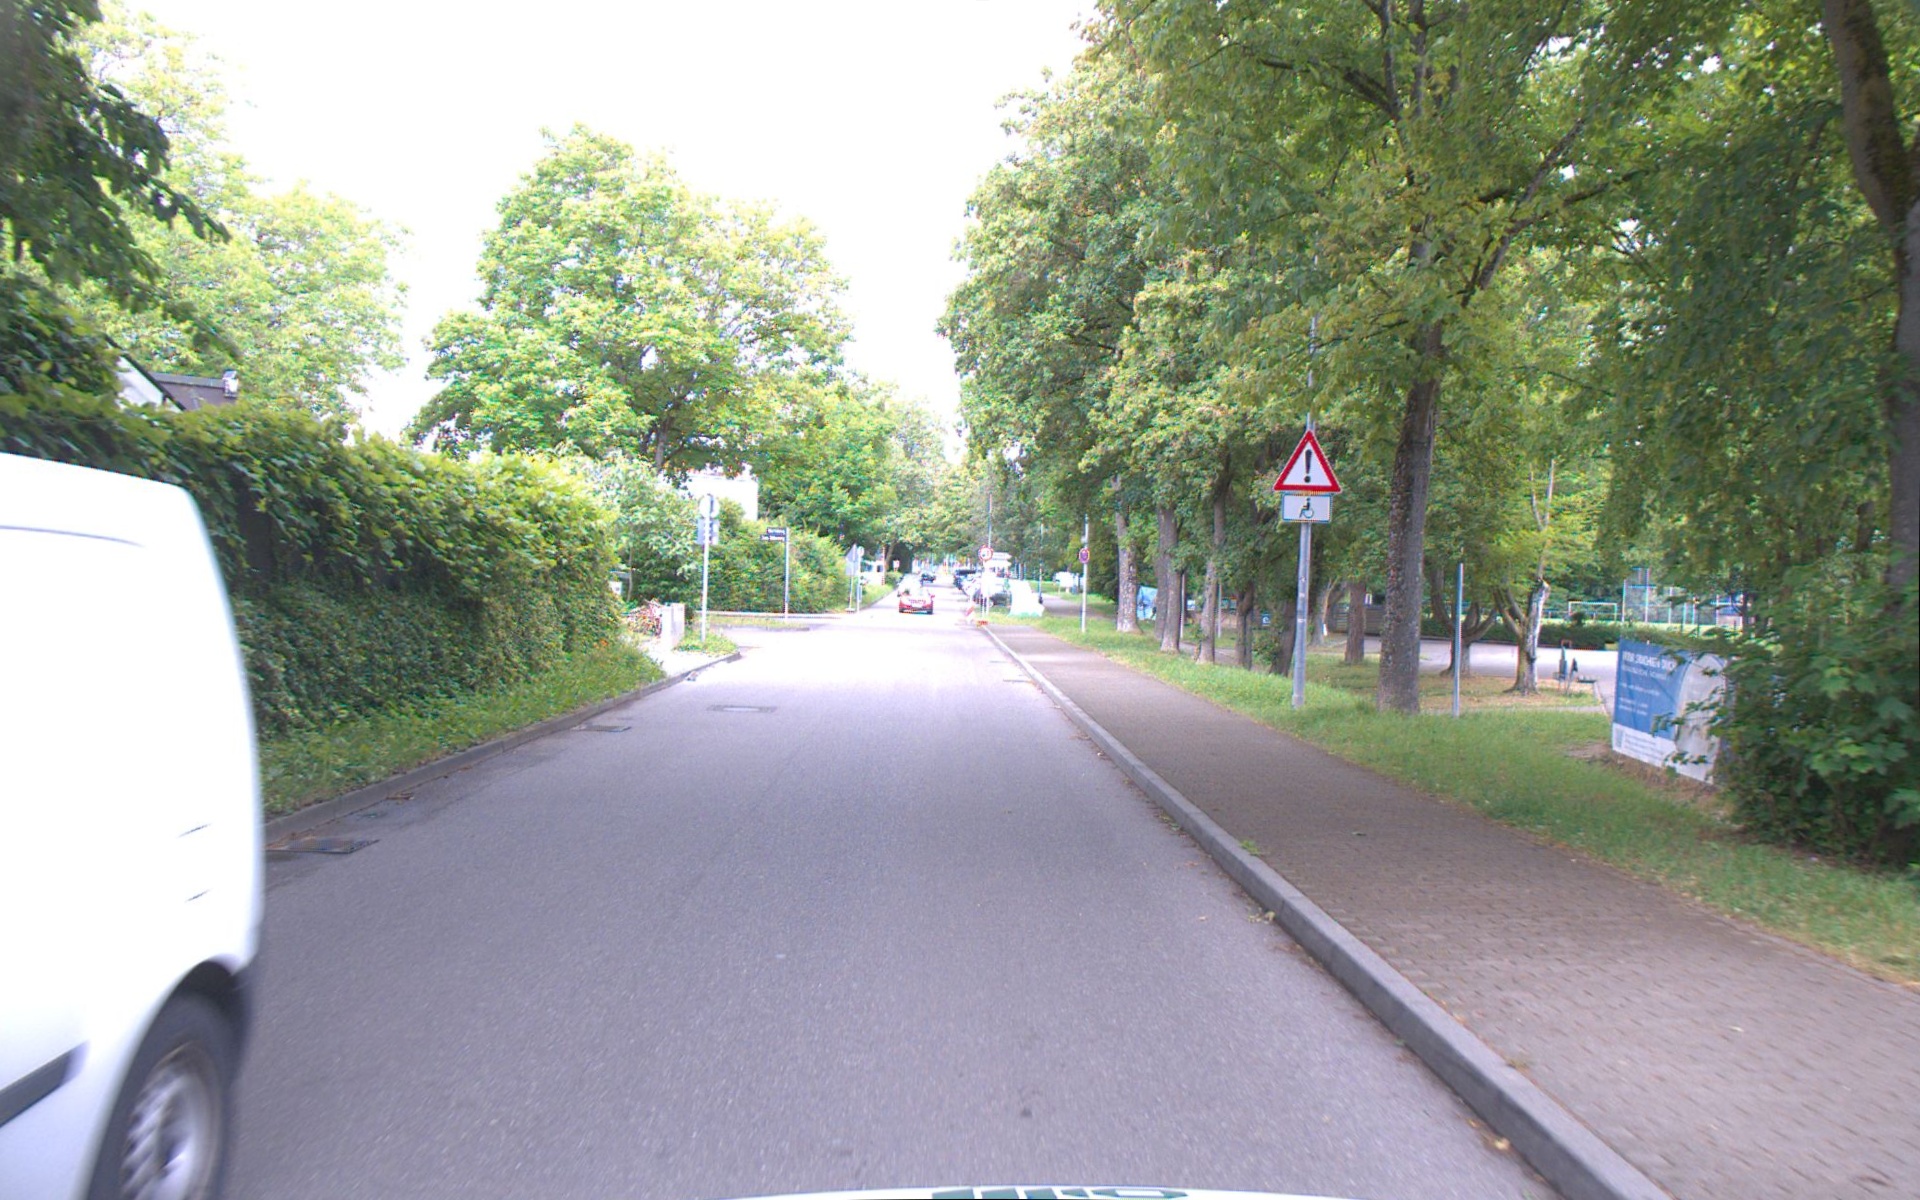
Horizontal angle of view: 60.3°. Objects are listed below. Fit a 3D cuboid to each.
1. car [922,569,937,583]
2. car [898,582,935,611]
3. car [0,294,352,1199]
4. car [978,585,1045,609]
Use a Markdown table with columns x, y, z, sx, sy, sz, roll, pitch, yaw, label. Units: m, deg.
| x | y | z | sx | sy | sz | roll | pitch | yaw | label |
| --- | --- | --- | --- | --- | --- | --- | --- | --- | --- |
| -3.962 | -3.083 | 213.664 | 1.929 | 1.778 | 4.337 | 2 | 1 | -2 | car |
| -2.212 | -0.190 | 84.168 | 1.716 | 1.359 | 4.063 | 2 | 1 | -3 | car |
| -2.401 | 0.483 | 1.900 | 1.835 | 1.947 | 4.430 | 1 | -1 | -2 | car |
| 3.164 | -0.175 | 102.024 | 3.981 | 1.459 | 1.999 | 1 | -1 | -2 | car |
